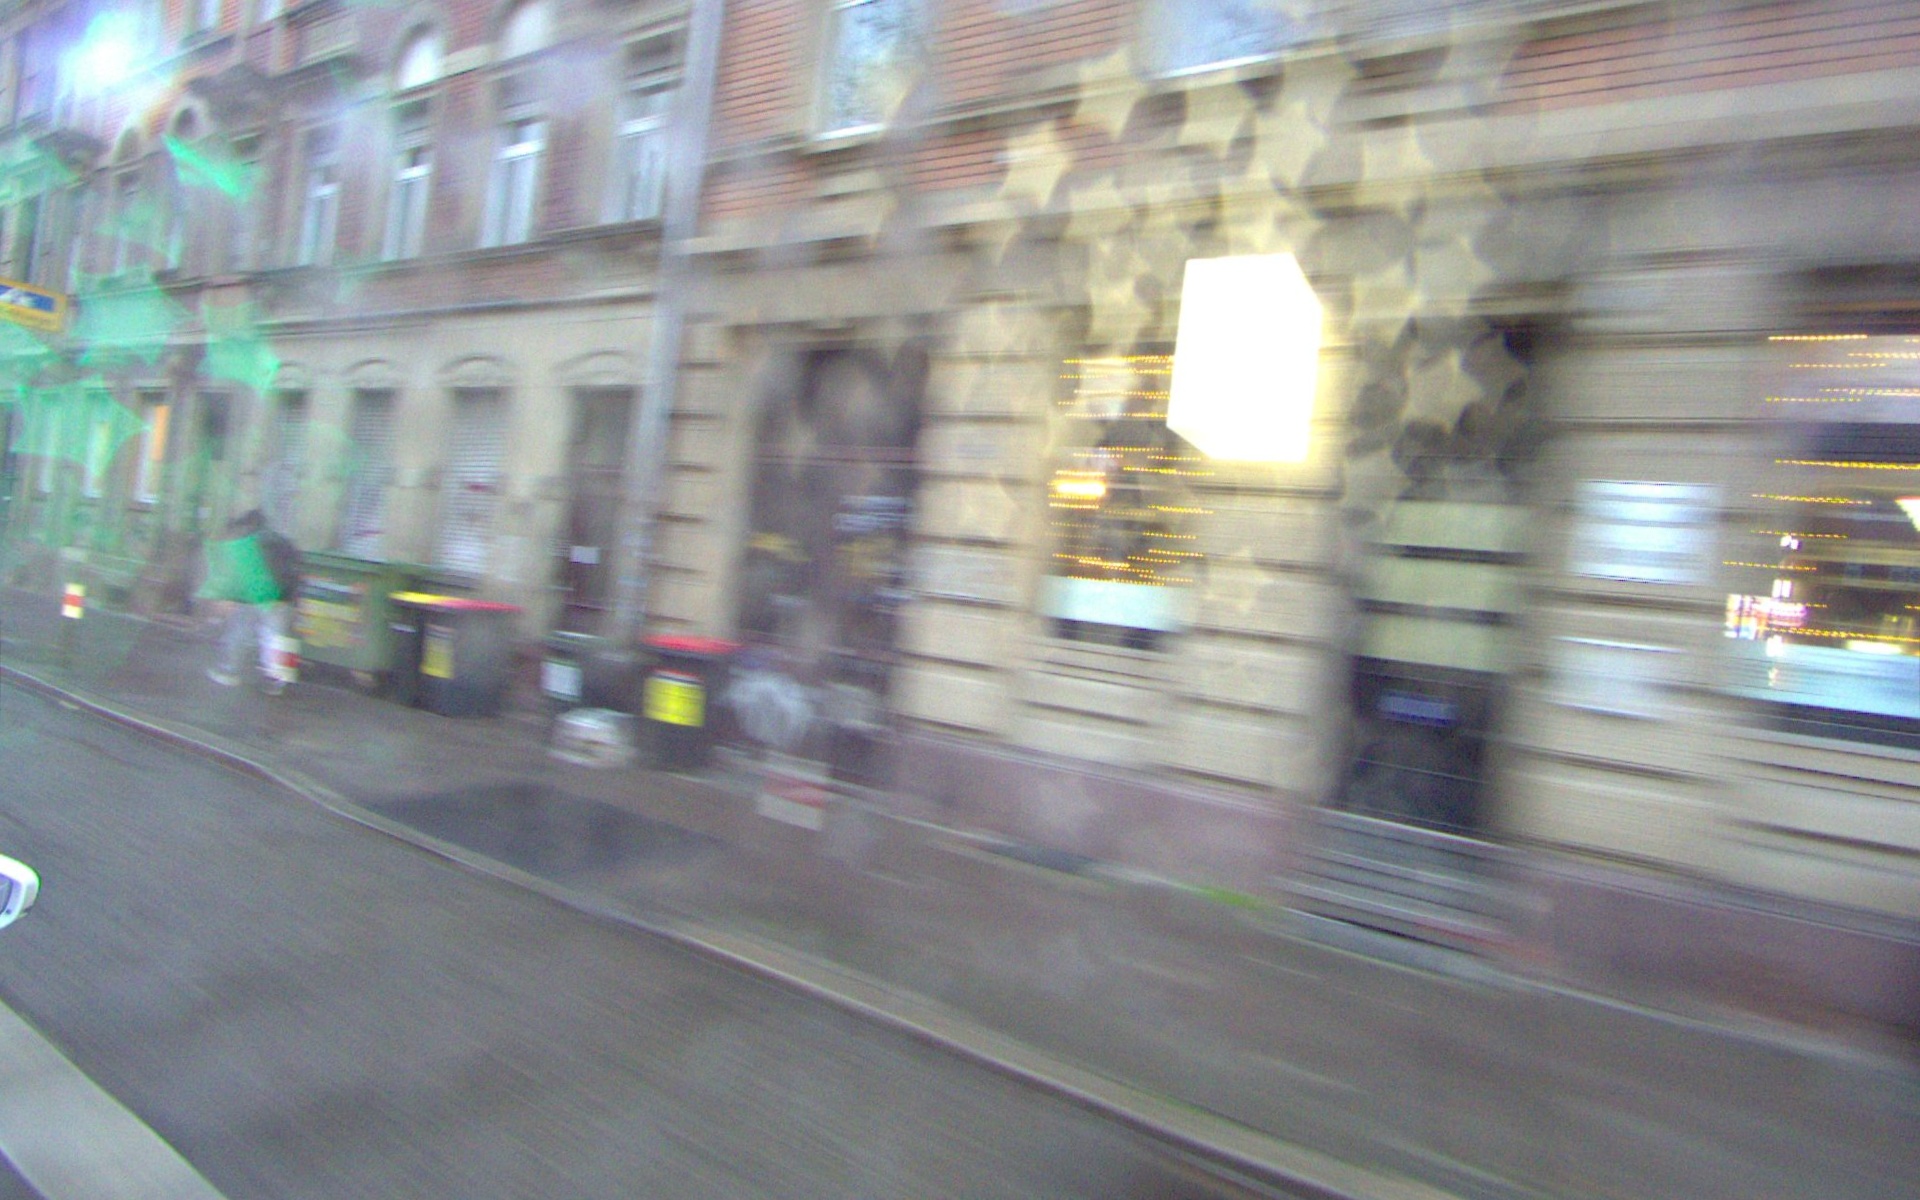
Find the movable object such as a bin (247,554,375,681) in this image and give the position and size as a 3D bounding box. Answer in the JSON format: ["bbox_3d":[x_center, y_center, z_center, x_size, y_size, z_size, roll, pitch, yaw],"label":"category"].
[{"bbox_3d":[-6.948,0.196,10.781,0.805,1.225,0.766,7,0,31],"label":"movable object such as a bin"}]

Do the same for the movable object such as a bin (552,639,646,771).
[{"bbox_3d":[-2.807,0.804,7.848,0.417,0.940,0.489,7,0,5],"label":"movable object such as a bin"}]

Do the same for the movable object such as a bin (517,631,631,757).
[{"bbox_3d":[-3.194,0.773,8.344,0.483,0.940,0.612,7,0,30],"label":"movable object such as a bin"}]

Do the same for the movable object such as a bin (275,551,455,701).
[{"bbox_3d":[-5.985,0.269,10.137,1.239,1.304,0.890,7,0,24],"label":"movable object such as a bin"}]

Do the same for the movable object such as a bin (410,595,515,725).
[{"bbox_3d":[-4.581,0.551,9.266,0.609,1.095,0.592,7,0,-44],"label":"movable object such as a bin"}]

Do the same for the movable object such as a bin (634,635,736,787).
[{"bbox_3d":[-2.154,0.852,7.935,0.482,1.093,0.613,7,0,3],"label":"movable object such as a bin"}]

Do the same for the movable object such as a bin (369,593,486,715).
[{"bbox_3d":[-5.097,0.522,9.635,0.763,1.051,0.592,8,0,-44],"label":"movable object such as a bin"}]

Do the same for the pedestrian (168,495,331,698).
[{"bbox_3d":[-6.552,-0.035,9.283,0.939,1.720,0.834,6,-2,40],"label":"pedestrian"}]
